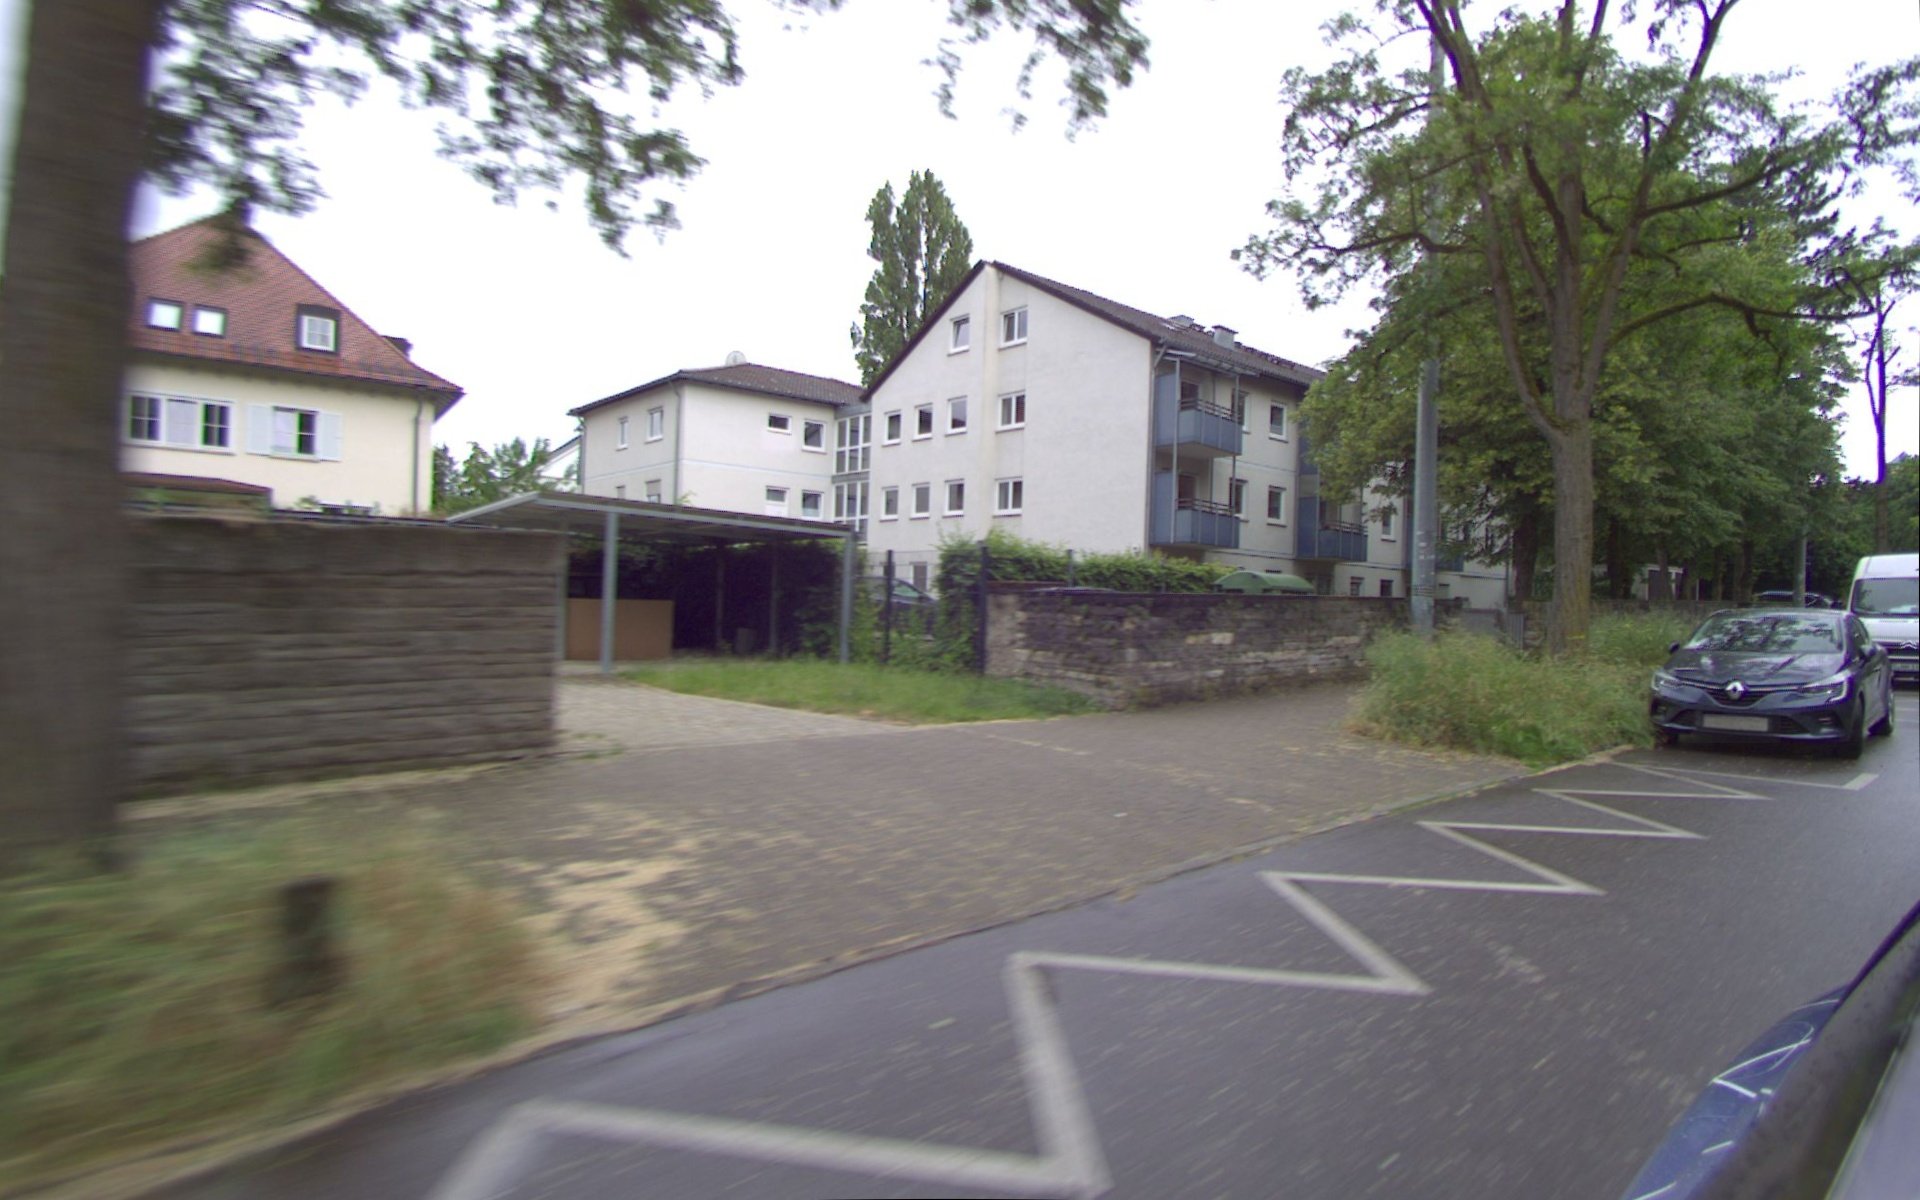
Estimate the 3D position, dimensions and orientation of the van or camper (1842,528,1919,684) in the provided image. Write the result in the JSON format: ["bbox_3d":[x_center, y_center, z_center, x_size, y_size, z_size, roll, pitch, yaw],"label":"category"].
[{"bbox_3d":[18.469,0.132,19.054,5.252,2.685,2.082,1,-1,-41],"label":"van or camper"}]

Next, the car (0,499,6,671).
[{"bbox_3d":[-11.575,-0.146,9.133,4.179,1.833,1.833,0,1,-40],"label":"car"}]

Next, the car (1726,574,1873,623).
[{"bbox_3d":[34.418,-0.094,41.593,1.964,1.702,4.320,0,4,-39],"label":"car"}]

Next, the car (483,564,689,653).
[{"bbox_3d":[-7.750,0.189,21.080,3.696,1.710,1.737,1,-1,-35],"label":"car"}]

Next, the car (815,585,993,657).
[{"bbox_3d":[-1.266,0.477,23.775,3.929,1.552,1.761,1,-1,-40],"label":"car"}]

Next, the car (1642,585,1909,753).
[{"bbox_3d":[8.969,0.641,11.019,3.896,1.498,1.742,1,-1,-43],"label":"car"}]
